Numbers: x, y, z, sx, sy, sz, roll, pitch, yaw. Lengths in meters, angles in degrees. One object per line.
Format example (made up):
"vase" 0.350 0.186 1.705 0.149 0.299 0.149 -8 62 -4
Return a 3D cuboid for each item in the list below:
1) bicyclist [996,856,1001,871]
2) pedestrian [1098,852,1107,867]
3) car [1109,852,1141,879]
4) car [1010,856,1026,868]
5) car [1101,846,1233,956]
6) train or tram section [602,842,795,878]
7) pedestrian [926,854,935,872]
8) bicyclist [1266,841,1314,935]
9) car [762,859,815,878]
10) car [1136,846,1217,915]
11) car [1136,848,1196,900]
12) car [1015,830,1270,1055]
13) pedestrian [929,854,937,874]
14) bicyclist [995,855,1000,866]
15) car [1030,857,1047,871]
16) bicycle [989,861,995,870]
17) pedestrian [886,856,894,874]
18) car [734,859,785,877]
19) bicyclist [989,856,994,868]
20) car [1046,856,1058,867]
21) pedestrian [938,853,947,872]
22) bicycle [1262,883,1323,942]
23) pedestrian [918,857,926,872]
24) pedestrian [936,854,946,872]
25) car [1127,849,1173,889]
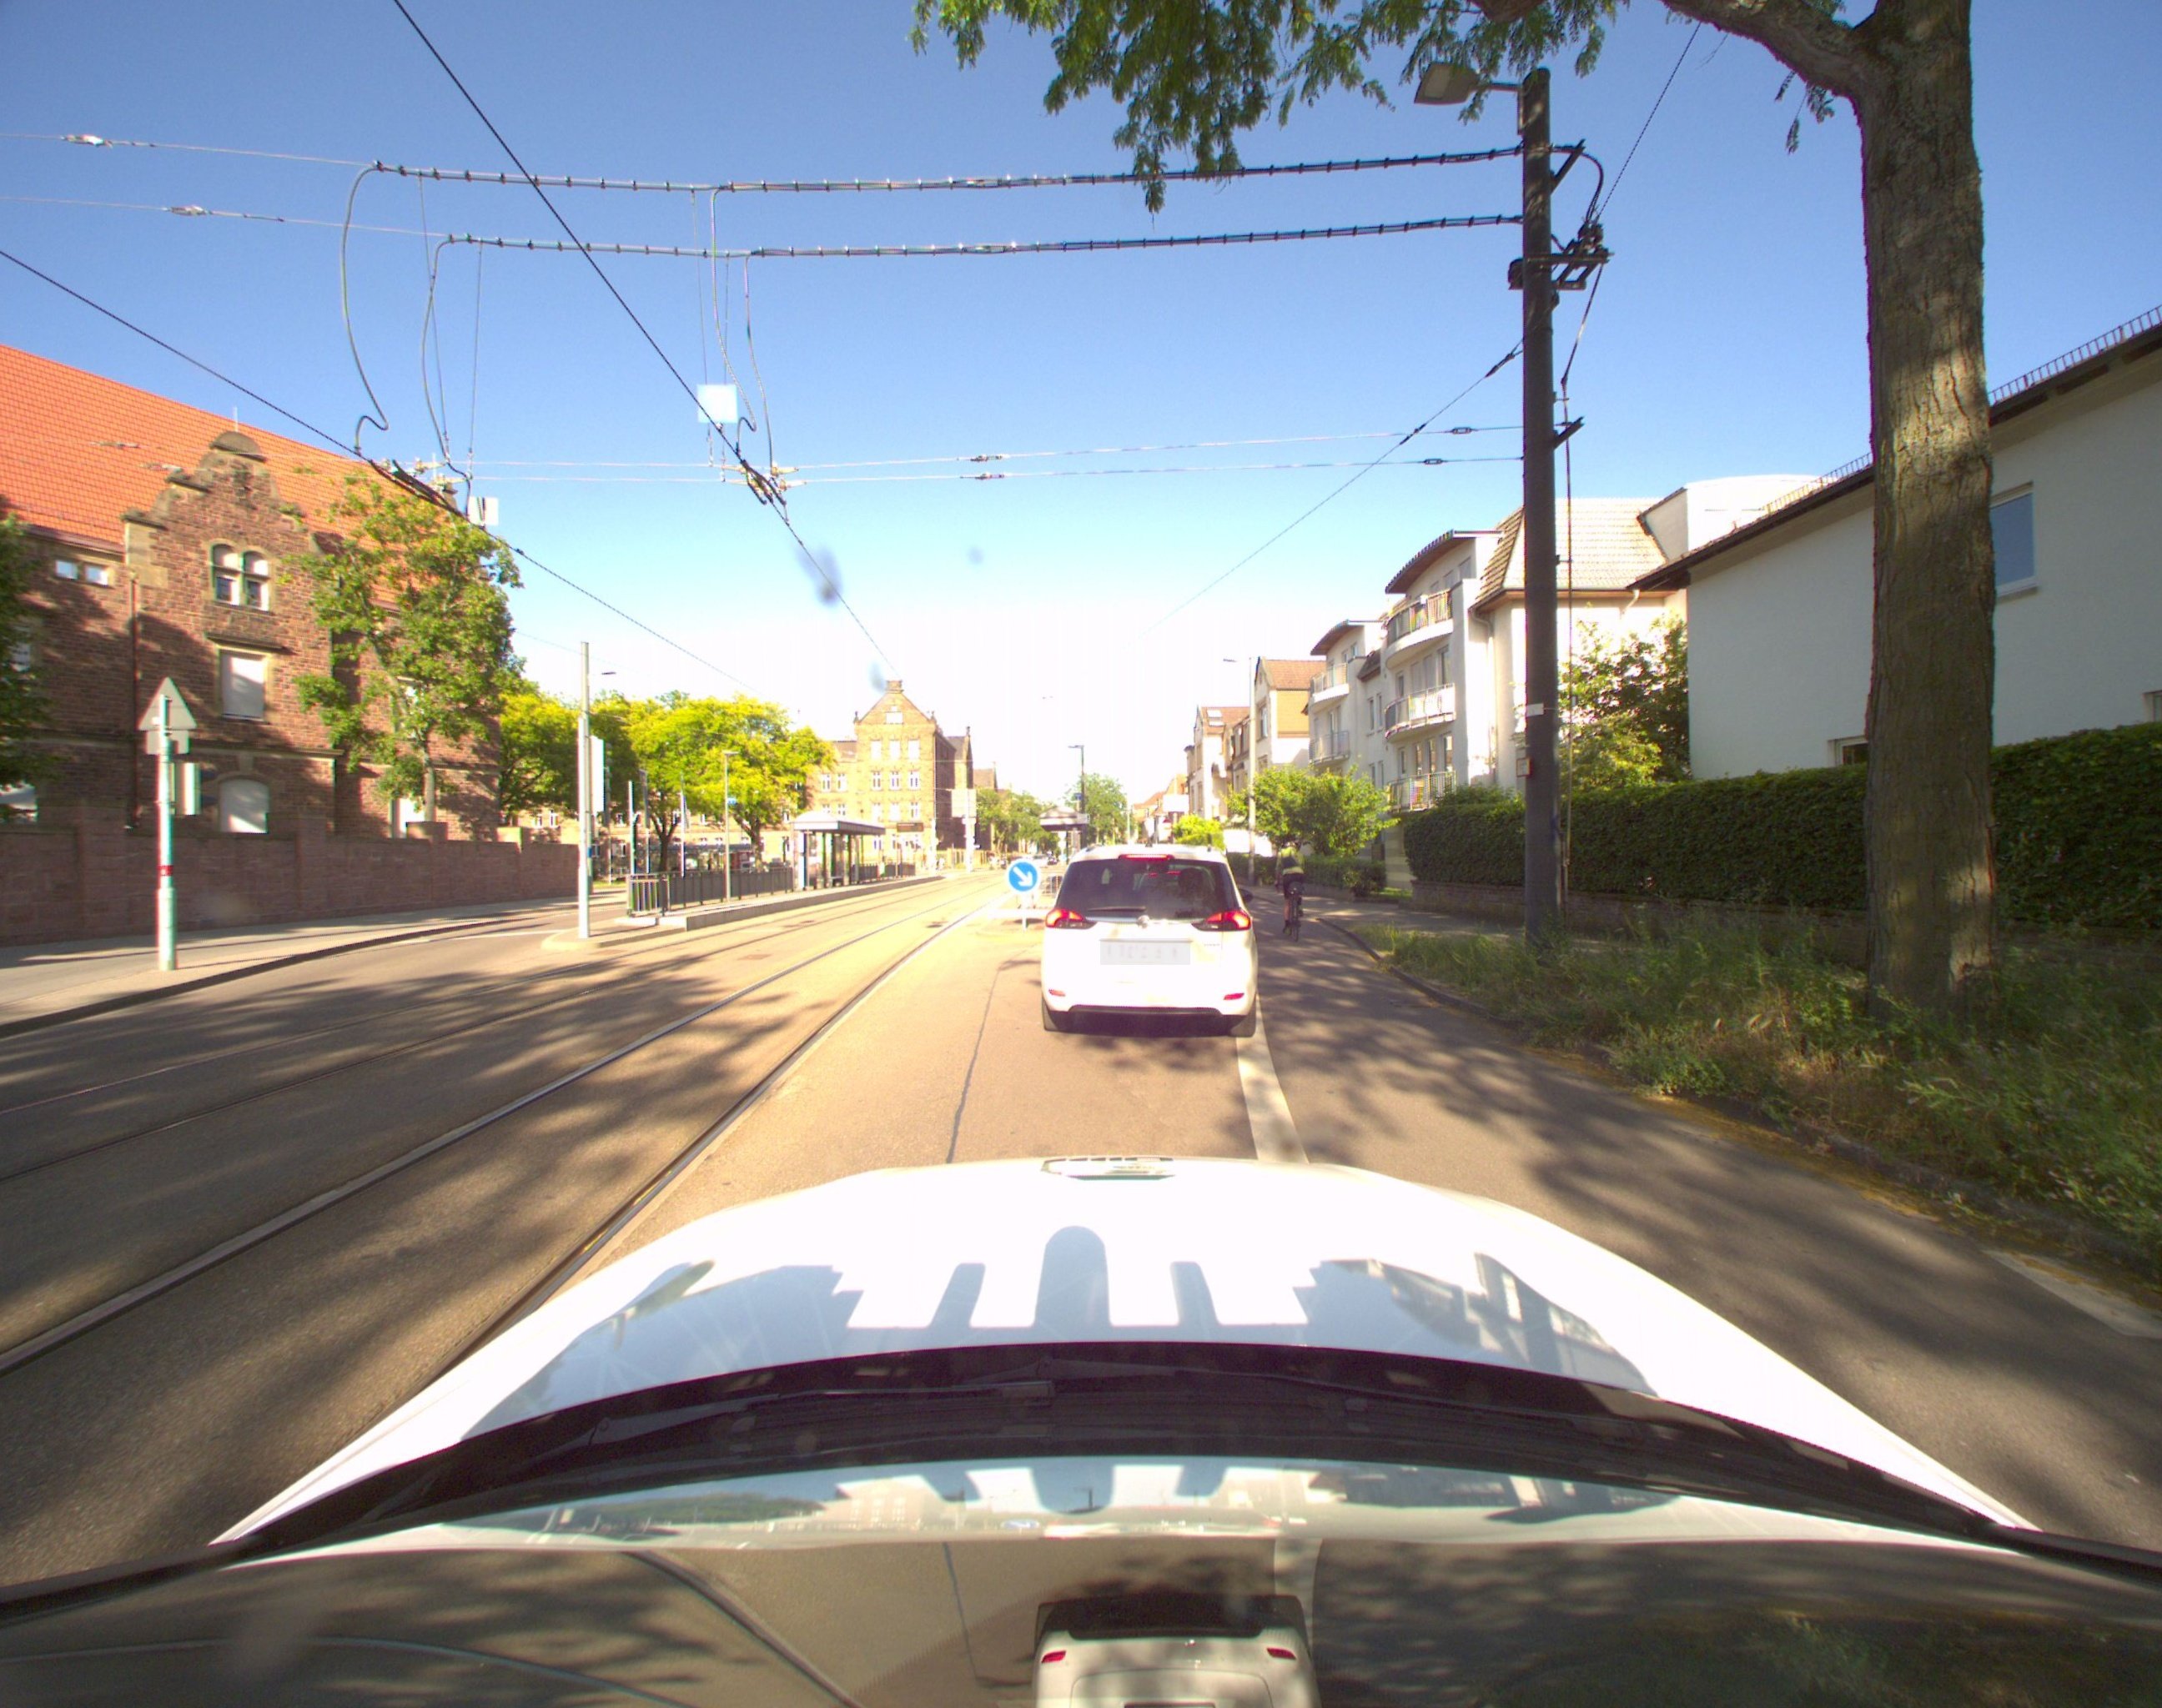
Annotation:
"bicyclist" -10.756 1.267 106.132 0.496 2.014 0.572 0 -1 1
"pedestrian" 2.703 0.658 101.496 0.800 1.901 0.748 -1 -1 40
"car" 2.843 0.753 53.170 1.901 1.661 4.000 -1 0 0
"car" -8.761 1.119 114.023 1.740 1.716 4.001 0 -1 2
"car" 1.562 0.690 13.855 1.896 1.597 4.010 -1 0 9
"train or tram section" -37.843 0.577 81.132 17.346 3.154 3.344 -1 -1 -3
"pedestrian" -17.153 1.011 92.829 0.683 2.014 0.621 -1 -1 35
"bicyclist" 3.803 0.612 14.863 0.673 1.658 0.745 -1 0 1
"car" -25.445 1.240 70.958 3.976 1.630 1.817 0 -1 -2
"car" 2.623 0.640 21.676 1.896 1.624 4.010 -1 0 9
"car" 2.978 0.654 28.333 1.897 1.661 4.007 -1 0 6
"car" 0.764 0.666 8.137 1.896 1.661 4.010 -1 0 9
"pedestrian" -15.525 1.060 85.601 0.795 2.014 1.042 0 -1 -12
"bicyclist" -11.264 0.880 109.936 0.529 1.477 0.572 0 -1 1
"car" -5.101 1.175 97.253 1.744 1.716 3.991 0 -1 -6
"bicycle" -11.232 1.411 102.533 0.507 1.077 1.739 0 -1 2
"pedestrian" -19.518 1.135 83.053 0.768 1.774 0.717 0 -1 -15
"car" -29.653 1.316 75.200 3.976 1.630 1.817 0 -1 -2
"bicyclist" -11.233 1.005 102.579 0.529 1.477 0.572 0 -1 1
"car" -4.605 1.182 129.384 1.740 1.716 4.001 0 -1 2
"pedestrian" -14.551 0.869 85.502 0.796 2.014 0.717 0 -1 -15
"bicycle" 3.817 1.040 14.840 0.673 0.925 1.886 -1 0 2
"pedestrian" -18.189 1.208 93.137 0.647 1.612 0.715 -1 -1 33
"pedestrian" -15.798 1.067 91.895 0.800 2.014 0.713 0 -1 -34
"car" 2.998 0.619 36.177 1.899 1.661 4.003 -1 0 3
